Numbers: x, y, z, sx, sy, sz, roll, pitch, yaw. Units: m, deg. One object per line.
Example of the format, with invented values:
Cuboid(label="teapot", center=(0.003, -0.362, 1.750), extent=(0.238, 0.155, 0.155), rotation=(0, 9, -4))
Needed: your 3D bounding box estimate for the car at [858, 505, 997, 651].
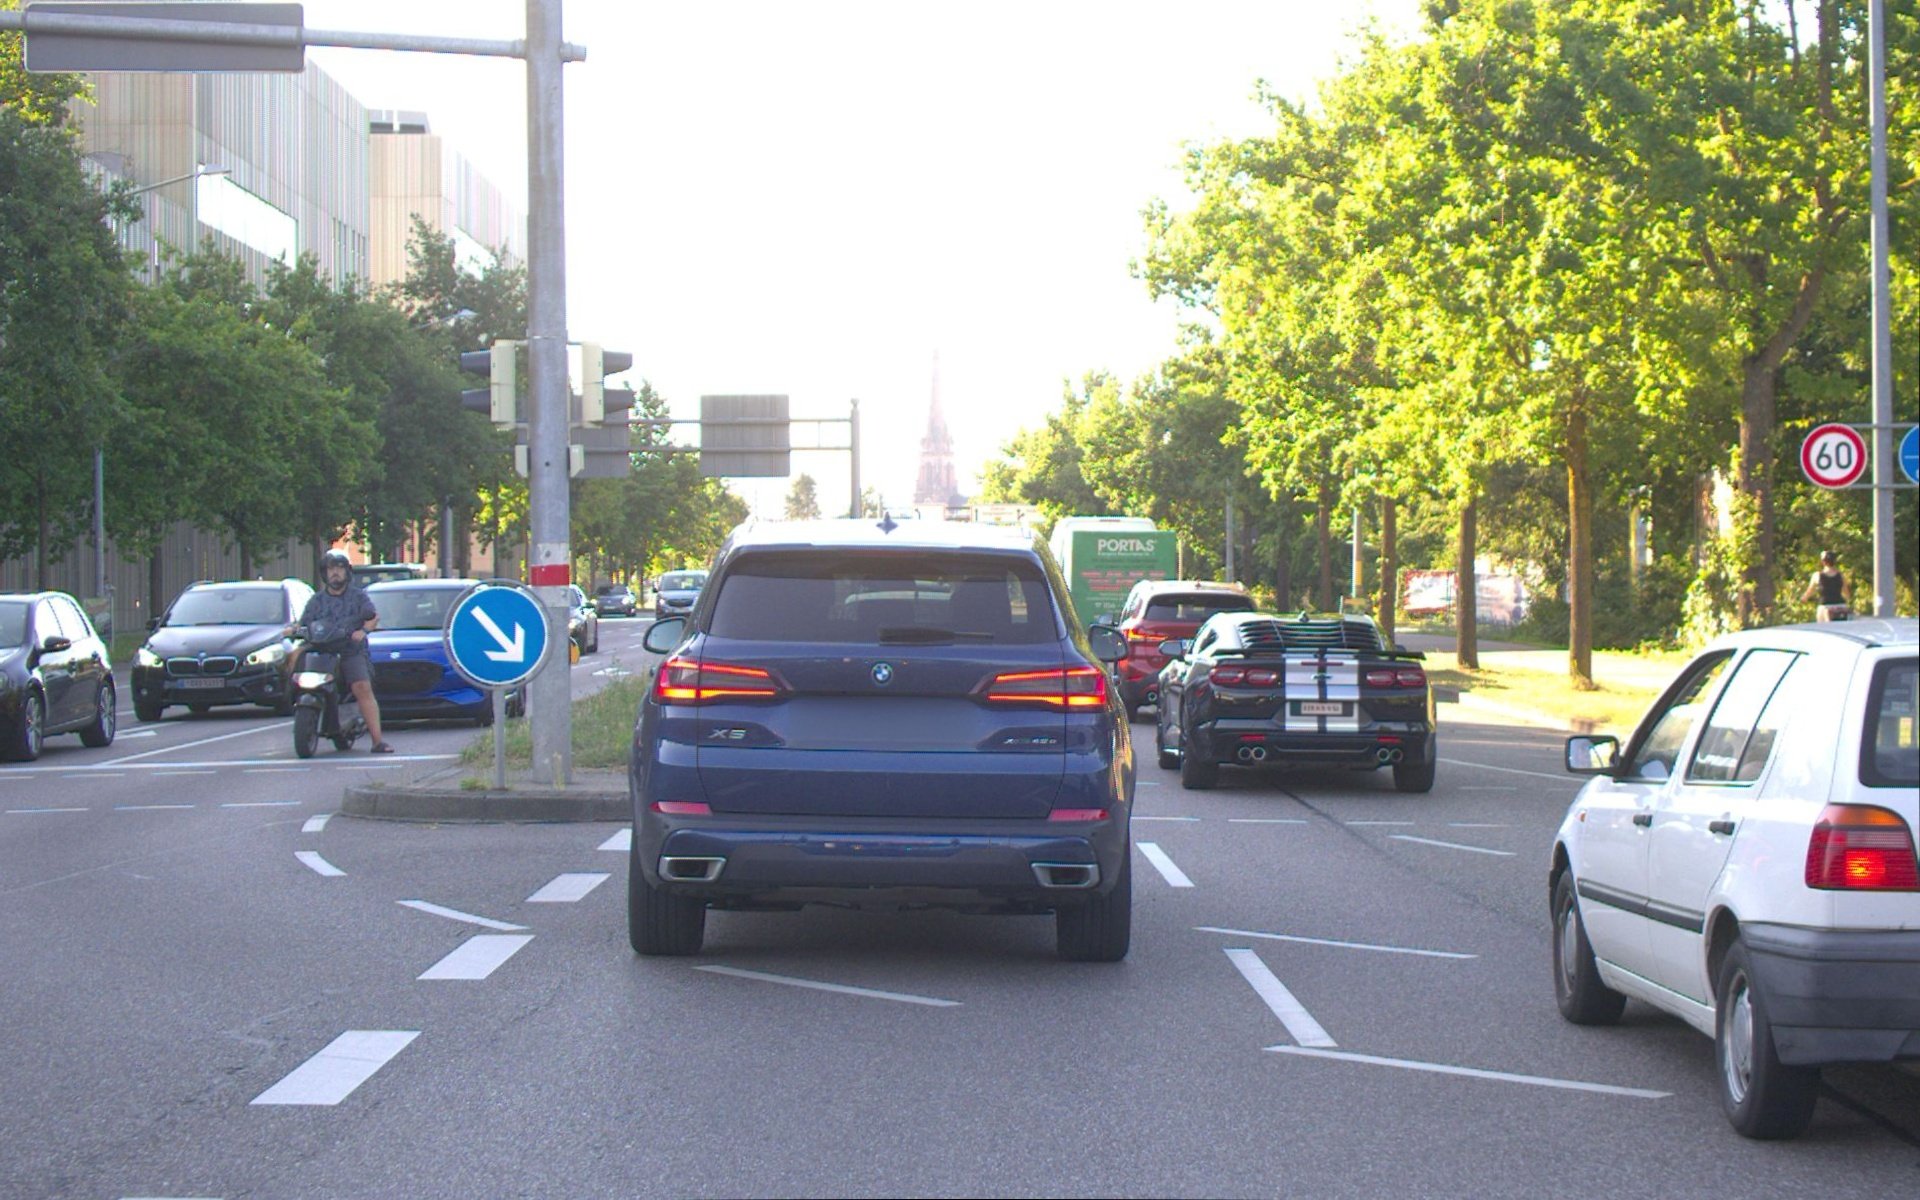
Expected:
Cuboid(label="car", center=(-0.657, -0.376, 64.266), extent=(2.136, 2.567, 5.087), rotation=(2, -1, -5))

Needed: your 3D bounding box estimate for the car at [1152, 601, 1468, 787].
Cuboid(label="car", center=(2.634, 0.703, 26.762), extent=(1.993, 1.290, 4.000), rotation=(1, -1, 0))

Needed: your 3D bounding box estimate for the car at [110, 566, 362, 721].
Cuboid(label="car", center=(-8.361, 0.503, 40.120), extent=(1.993, 1.586, 4.715), rotation=(-3, -1, -2))

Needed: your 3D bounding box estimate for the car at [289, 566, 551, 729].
Cuboid(label="car", center=(-5.385, 0.465, 34.739), extent=(1.702, 1.447, 3.857), rotation=(-4, -1, 4))

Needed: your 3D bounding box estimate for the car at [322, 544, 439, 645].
Cuboid(label="car", center=(-12.133, -0.144, 72.176), extent=(1.794, 1.972, 3.994), rotation=(-3, 1, -2))

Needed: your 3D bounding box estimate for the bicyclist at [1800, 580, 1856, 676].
Cuboid(label="bicyclist", center=(12.121, 0.391, 48.018), extent=(0.543, 1.311, 0.835), rotation=(1, -1, 0))

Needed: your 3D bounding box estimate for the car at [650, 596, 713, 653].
Cuboid(label="car", center=(-9.377, 0.825, 116.003), extent=(1.756, 1.771, 4.494), rotation=(-4, -1, -1))

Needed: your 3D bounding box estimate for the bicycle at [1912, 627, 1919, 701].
Cuboid(label="bicycle", center=(11.986, 0.784, 41.922), extent=(0.437, 0.911, 1.026), rotation=(1, -1, 0))

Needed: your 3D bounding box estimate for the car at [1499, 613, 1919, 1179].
Cuboid(label="car", center=(2.835, 0.780, 10.652), extent=(1.578, 1.408, 4.062), rotation=(1, -1, -1))

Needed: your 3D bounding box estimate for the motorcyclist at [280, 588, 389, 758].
Cuboid(label="motorcyclist", center=(-5.235, 0.594, 28.834), extent=(0.797, 1.345, 1.275), rotation=(-2, 2, -7))

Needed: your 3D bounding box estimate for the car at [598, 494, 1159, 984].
Cuboid(label="car", center=(-0.306, 0.532, 14.754), extent=(1.993, 1.728, 4.532), rotation=(1, -1, 0))

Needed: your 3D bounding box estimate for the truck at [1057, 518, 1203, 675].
Cuboid(label="truck", center=(2.601, -0.034, 53.528), extent=(1.996, 2.307, 4.000), rotation=(1, -1, 0))

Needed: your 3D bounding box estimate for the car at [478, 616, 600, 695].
Cuboid(label="car", center=(-8.667, 1.141, 71.122), extent=(1.993, 1.447, 4.798), rotation=(-4, -1, -2))

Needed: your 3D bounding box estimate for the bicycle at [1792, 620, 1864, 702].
Cuboid(label="bicycle", center=(12.120, 0.845, 48.048), extent=(0.564, 1.108, 1.621), rotation=(1, -1, 0))

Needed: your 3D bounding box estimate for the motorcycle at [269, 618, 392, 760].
Cuboid(label="motorcycle", center=(-5.244, 0.716, 28.744), extent=(0.839, 1.072, 2.401), rotation=(-2, 1, -7))

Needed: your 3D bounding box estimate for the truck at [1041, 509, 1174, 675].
Cuboid(label="truck", center=(2.464, -0.106, 58.384), extent=(1.996, 2.660, 4.000), rotation=(1, -1, 0))

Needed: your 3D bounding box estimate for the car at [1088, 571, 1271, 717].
Cuboid(label="car", center=(2.485, 0.510, 39.737), extent=(1.796, 1.553, 4.000), rotation=(1, -1, 0))

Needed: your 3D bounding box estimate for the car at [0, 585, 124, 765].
Cuboid(label="car", center=(-8.794, 0.605, 30.136), extent=(1.993, 1.470, 4.080), rotation=(2, -1, -2))

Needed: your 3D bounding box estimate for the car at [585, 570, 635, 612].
Cuboid(label="car", center=(-15.516, -0.386, 152.646), extent=(1.756, 1.699, 4.494), rotation=(-4, -1, -1))

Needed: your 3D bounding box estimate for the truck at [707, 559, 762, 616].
Cuboid(label="truck", center=(-17.234, -0.909, 263.106), extent=(3.988, 4.074, 11.449), rotation=(2, -1, -3))
